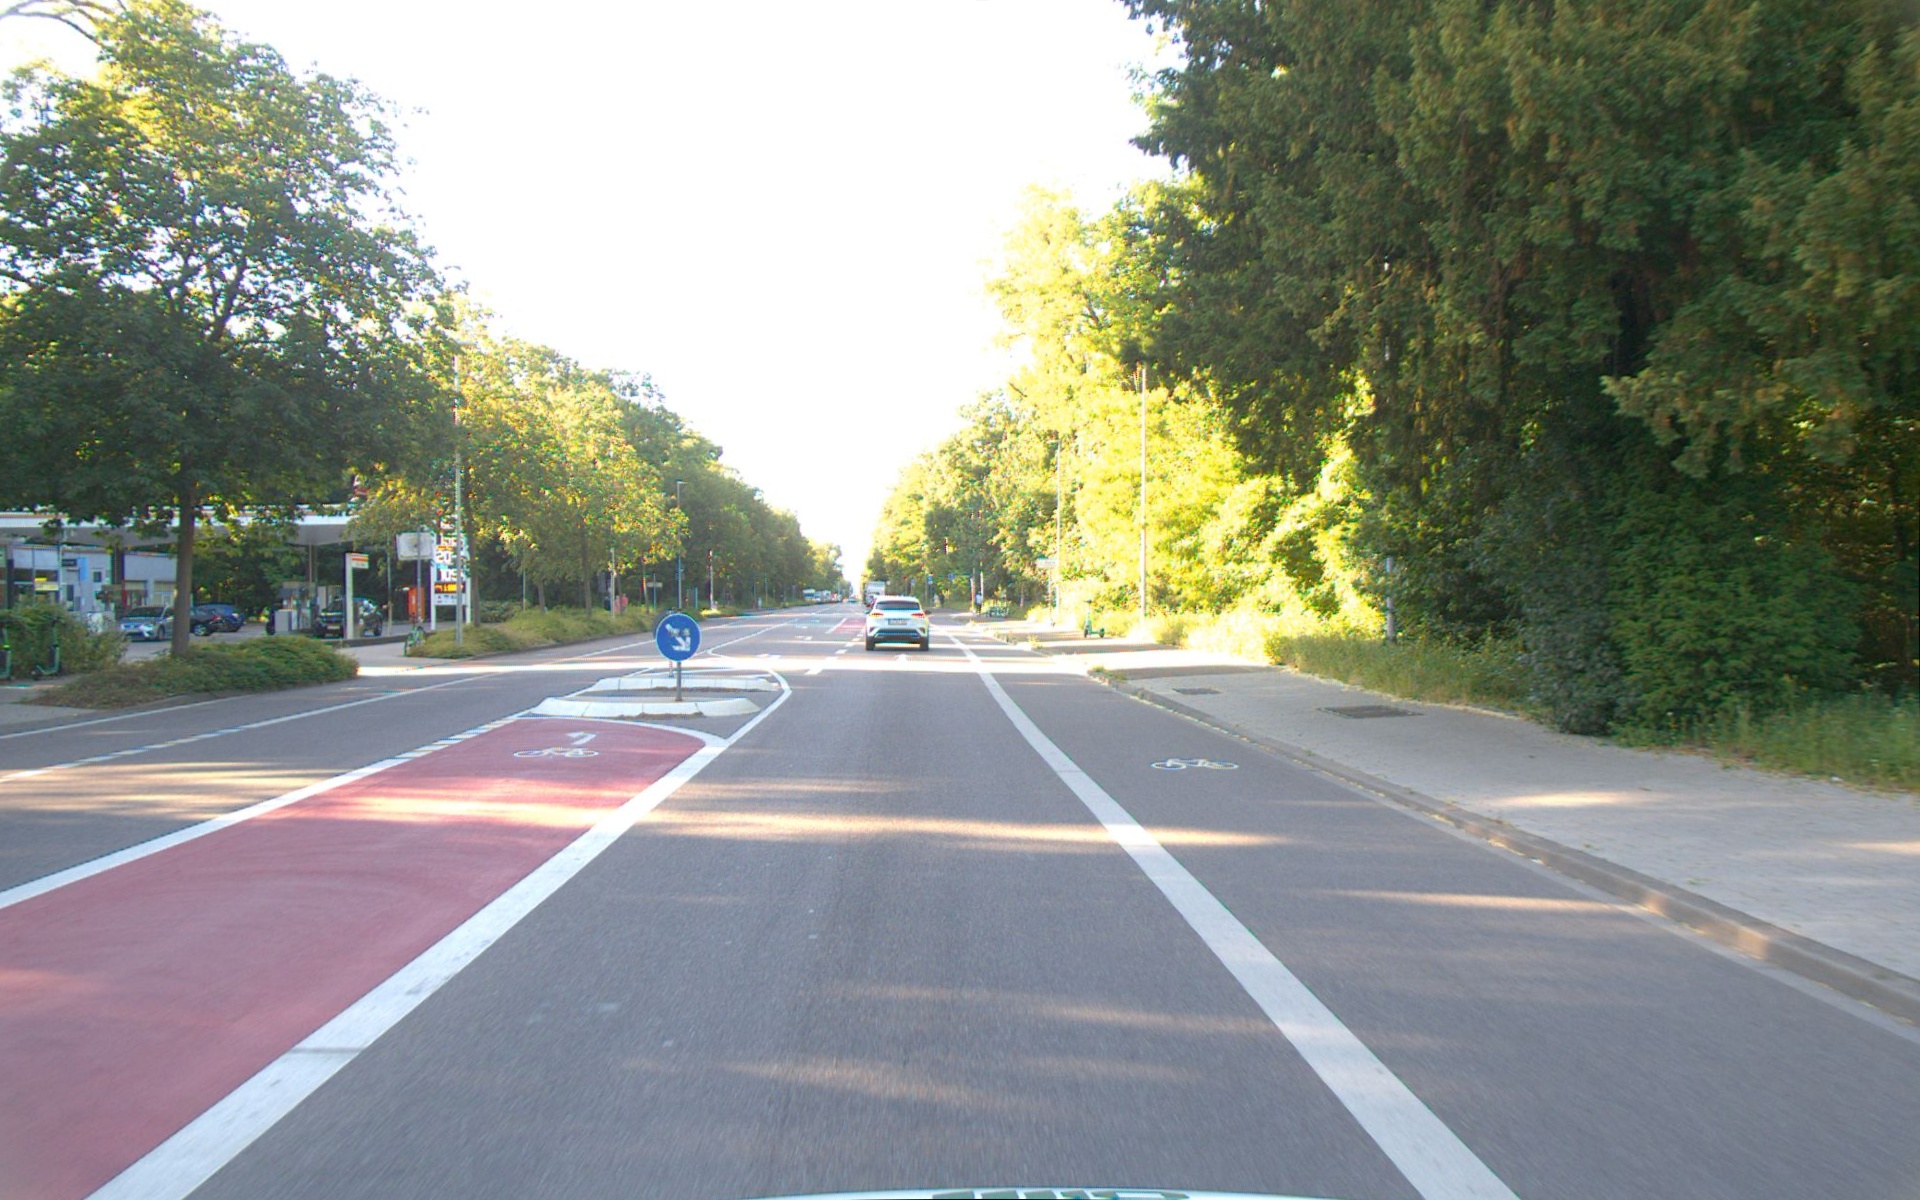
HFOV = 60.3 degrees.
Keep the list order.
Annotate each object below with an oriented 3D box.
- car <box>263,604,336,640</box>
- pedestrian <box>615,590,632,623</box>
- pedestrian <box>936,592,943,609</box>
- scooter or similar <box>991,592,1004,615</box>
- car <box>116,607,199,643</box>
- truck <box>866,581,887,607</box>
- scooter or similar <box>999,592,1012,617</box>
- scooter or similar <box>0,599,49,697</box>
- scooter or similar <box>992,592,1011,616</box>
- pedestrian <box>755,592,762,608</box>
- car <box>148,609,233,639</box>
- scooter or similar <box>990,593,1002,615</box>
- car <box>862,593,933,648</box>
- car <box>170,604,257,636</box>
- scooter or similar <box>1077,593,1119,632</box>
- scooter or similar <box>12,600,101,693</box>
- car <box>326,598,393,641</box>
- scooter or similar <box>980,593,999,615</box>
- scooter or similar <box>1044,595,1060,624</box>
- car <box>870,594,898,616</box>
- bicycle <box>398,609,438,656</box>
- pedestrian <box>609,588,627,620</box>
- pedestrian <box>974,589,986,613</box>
[{"bbox_3d":[-29.712,0.967,74.570,1.677,1.524,4.574,-1,0,-4],"label":"car"},{"bbox_3d":[-21.479,0.412,105.557,0.703,2.049,0.746,-1,0,28],"label":"pedestrian"},{"bbox_3d":[-2.083,0.068,167.078,0.684,1.682,0.875,-1,0,-4],"label":"pedestrian"},{"bbox_3d":[2.439,0.233,107.854,0.668,1.448,1.681,-1,0,-3],"label":"scooter or similar"},{"bbox_3d":[-33.463,1.035,69.046,1.677,1.400,4.057,-1,0,-4],"label":"car"},{"bbox_3d":[-12.136,-0.873,240.043,2.744,3.632,8.027,0,0,-4],"label":"truck"},{"bbox_3d":[2.718,0.275,98.847,0.668,1.448,1.680,-1,0,-3],"label":"scooter or similar"},{"bbox_3d":[-17.641,0.876,30.446,0.811,1.747,1.740,-1,0,-2],"label":"scooter or similar"},{"bbox_3d":[2.581,0.256,102.794,0.671,1.448,1.674,-1,0,-16],"label":"scooter or similar"},{"bbox_3d":[-25.442,0.009,209.002,0.846,2.049,1.268,-1,0,-4],"label":"pedestrian"},{"bbox_3d":[-37.872,1.156,81.442,3.565,1.377,1.708,-1,0,-18],"label":"car"},{"bbox_3d":[2.432,0.266,110.909,0.668,1.448,1.681,-1,0,-3],"label":"scooter or similar"},{"bbox_3d":[-1.821,0.568,47.418,1.727,1.485,3.812,1,0,-7],"label":"car"},{"bbox_3d":[-40.532,1.074,89.851,3.912,1.582,1.896,-1,0,-8],"label":"car"},{"bbox_3d":[4.620,0.422,55.289,0.525,1.272,1.531,-1,0,43],"label":"scooter or similar"},{"bbox_3d":[-17.671,0.880,32.389,0.811,1.747,1.740,-1,0,-2],"label":"scooter or similar"},{"bbox_3d":[-25.440,0.782,70.165,1.678,1.721,4.447,-1,0,-7],"label":"car"},{"bbox_3d":[1.875,0.255,106.511,0.671,1.448,1.673,-1,0,-18],"label":"scooter or similar"},{"bbox_3d":[4.068,0.400,73.129,0.522,1.272,1.540,-1,0,-3],"label":"scooter or similar"},{"bbox_3d":[-5.346,0.334,116.835,1.954,1.545,3.998,-1,0,-3],"label":"car"},{"bbox_3d":[-15.175,0.898,46.344,0.642,1.272,2.155,-1,0,-8],"label":"bicycle"},{"bbox_3d":[-21.848,0.259,105.573,0.703,2.049,0.873,-1,0,28],"label":"pedestrian"},{"bbox_3d":[1.364,0.068,110.944,0.739,1.591,0.802,-1,0,2],"label":"pedestrian"}]
